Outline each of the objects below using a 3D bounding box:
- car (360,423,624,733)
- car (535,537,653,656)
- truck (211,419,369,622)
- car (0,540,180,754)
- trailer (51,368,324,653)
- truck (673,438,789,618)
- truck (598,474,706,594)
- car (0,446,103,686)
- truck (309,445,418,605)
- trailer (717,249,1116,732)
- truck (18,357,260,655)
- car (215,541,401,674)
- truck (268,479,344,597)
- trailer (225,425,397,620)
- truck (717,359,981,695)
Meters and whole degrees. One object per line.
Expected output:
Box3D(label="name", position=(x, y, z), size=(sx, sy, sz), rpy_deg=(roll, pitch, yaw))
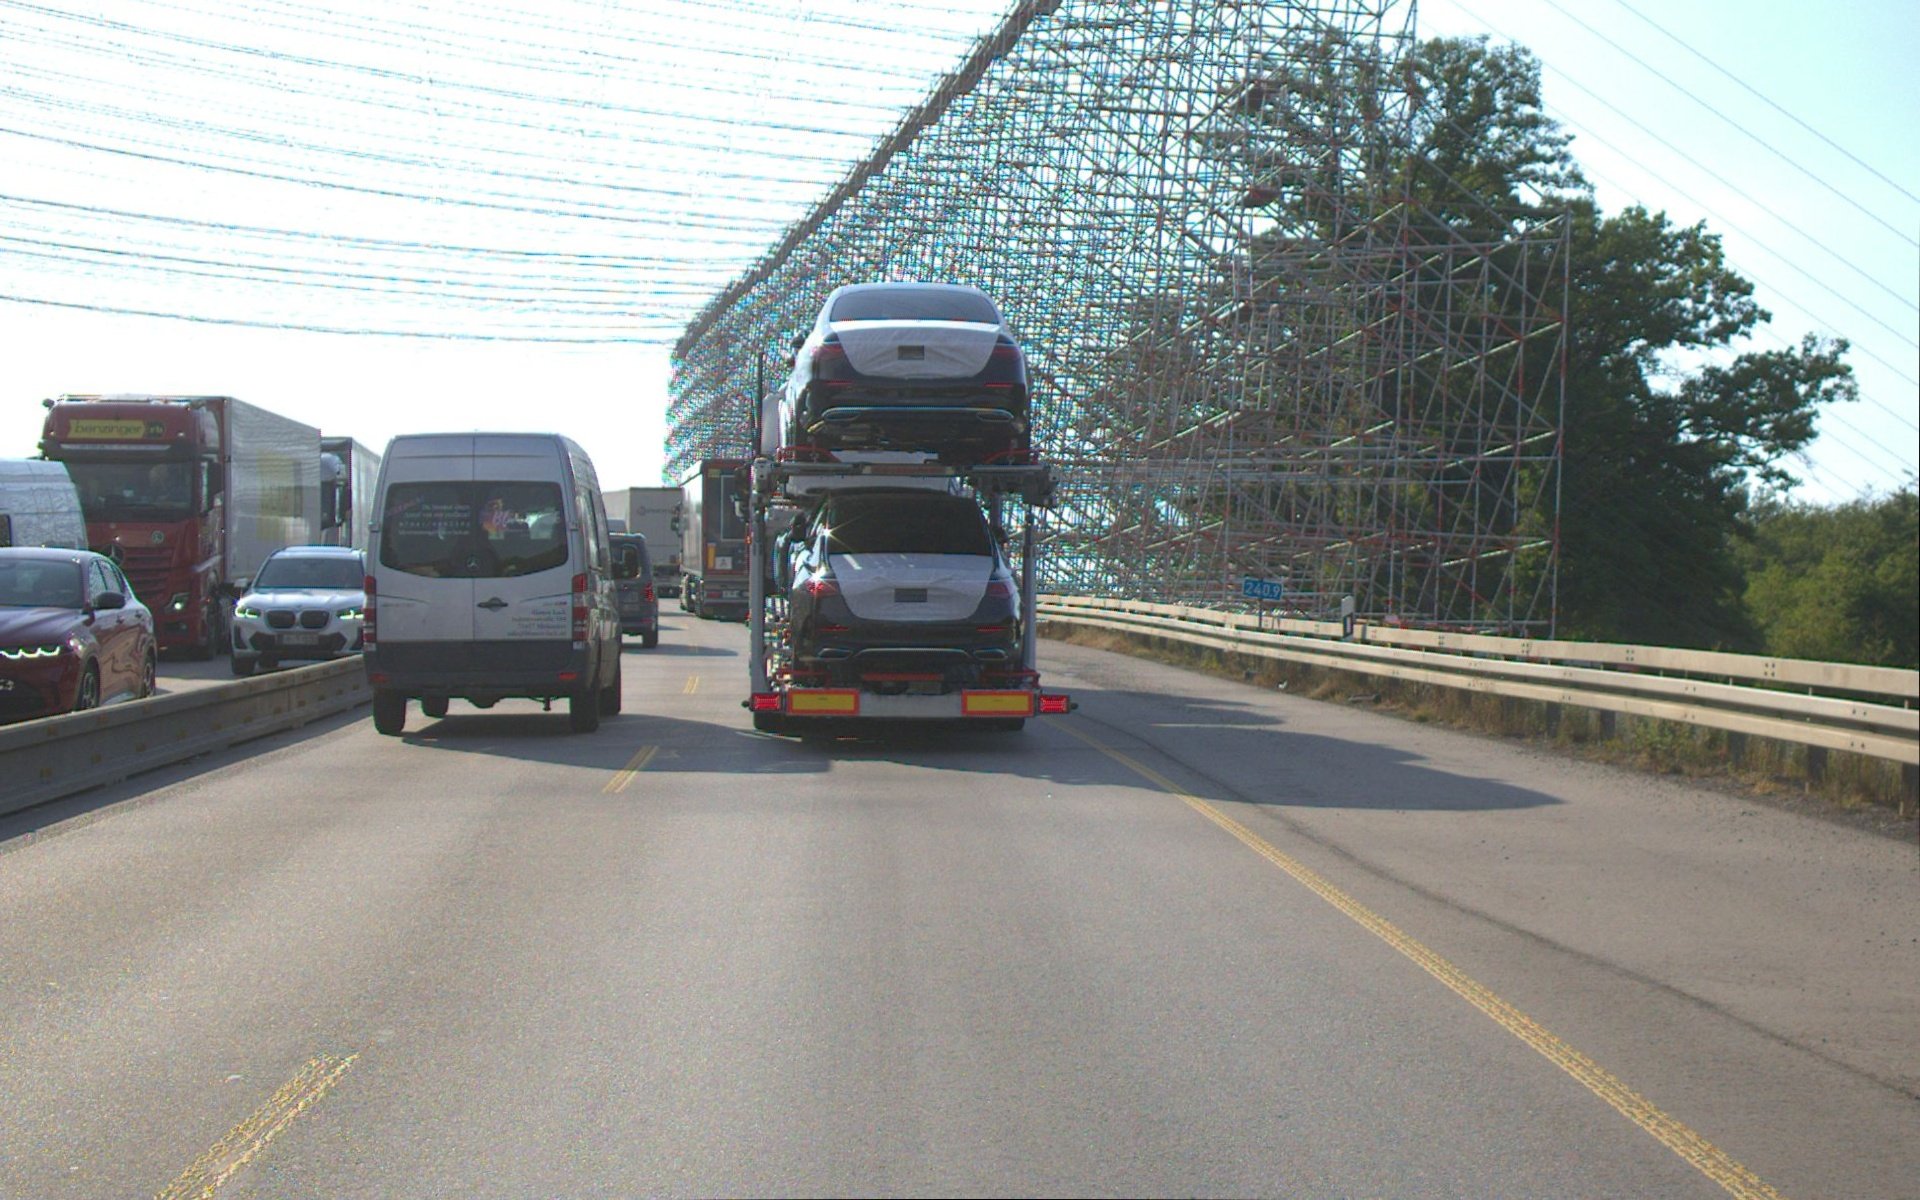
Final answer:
Box3D(label="car", position=(-4.157, -0.270, 31.094), size=(1.956, 2.611, 4.001), rpy_deg=(0, 2, -2))
Box3D(label="car", position=(-6.487, -0.070, 61.011), size=(1.993, 2.007, 4.001), rpy_deg=(1, 0, -6))
Box3D(label="truck", position=(-14.260, -1.654, 73.514), size=(2.787, 4.127, 5.935), rpy_deg=(0, 0, -6))
Box3D(label="car", position=(-7.868, 0.320, 28.511), size=(1.887, 1.563, 4.456), rpy_deg=(1, 1, -2))
Box3D(label="trailer", position=(-13.064, -1.422, 59.390), size=(2.765, 4.319, 13.883), rpy_deg=(0, 0, -5))
Box3D(label="truck", position=(-6.007, -1.879, 90.334), size=(2.732, 4.370, 11.523), rpy_deg=(1, 1, -4))
Box3D(label="truck", position=(-11.707, -2.535, 131.764), size=(3.686, 4.206, 13.671), rpy_deg=(-2, 1, -4))
Box3D(label="car", position=(-11.836, -0.458, 40.520), size=(2.021, 2.680, 6.950), rpy_deg=(1, 2, -3))
Box3D(label="truck", position=(-16.064, -1.975, 92.827), size=(2.786, 4.127, 6.681), rpy_deg=(0, 0, -9))
Box3D(label="trailer", position=(-0.857, -0.908, 34.090), size=(2.868, 3.712, 14.950), rpy_deg=(0, 0, -5))
Box3D(label="truck", position=(-12.469, -1.375, 52.673), size=(2.744, 4.285, 5.935), rpy_deg=(0, 0, -5))
Box3D(label="car", position=(-8.820, 0.057, 46.865), size=(1.869, 1.583, 4.804), rpy_deg=(2, 2, -4))
Box3D(label="truck", position=(-24.157, -2.284, 126.874), size=(2.661, 4.215, 6.106), rpy_deg=(0, 1, -11))
Box3D(label="trailer", position=(-14.962, -1.720, 80.194), size=(2.798, 4.127, 13.969), rpy_deg=(0, 0, -6))
Box3D(label="truck", position=(-1.480, -0.837, 41.720), size=(2.881, 3.690, 7.326), rpy_deg=(0, 0, -4))
